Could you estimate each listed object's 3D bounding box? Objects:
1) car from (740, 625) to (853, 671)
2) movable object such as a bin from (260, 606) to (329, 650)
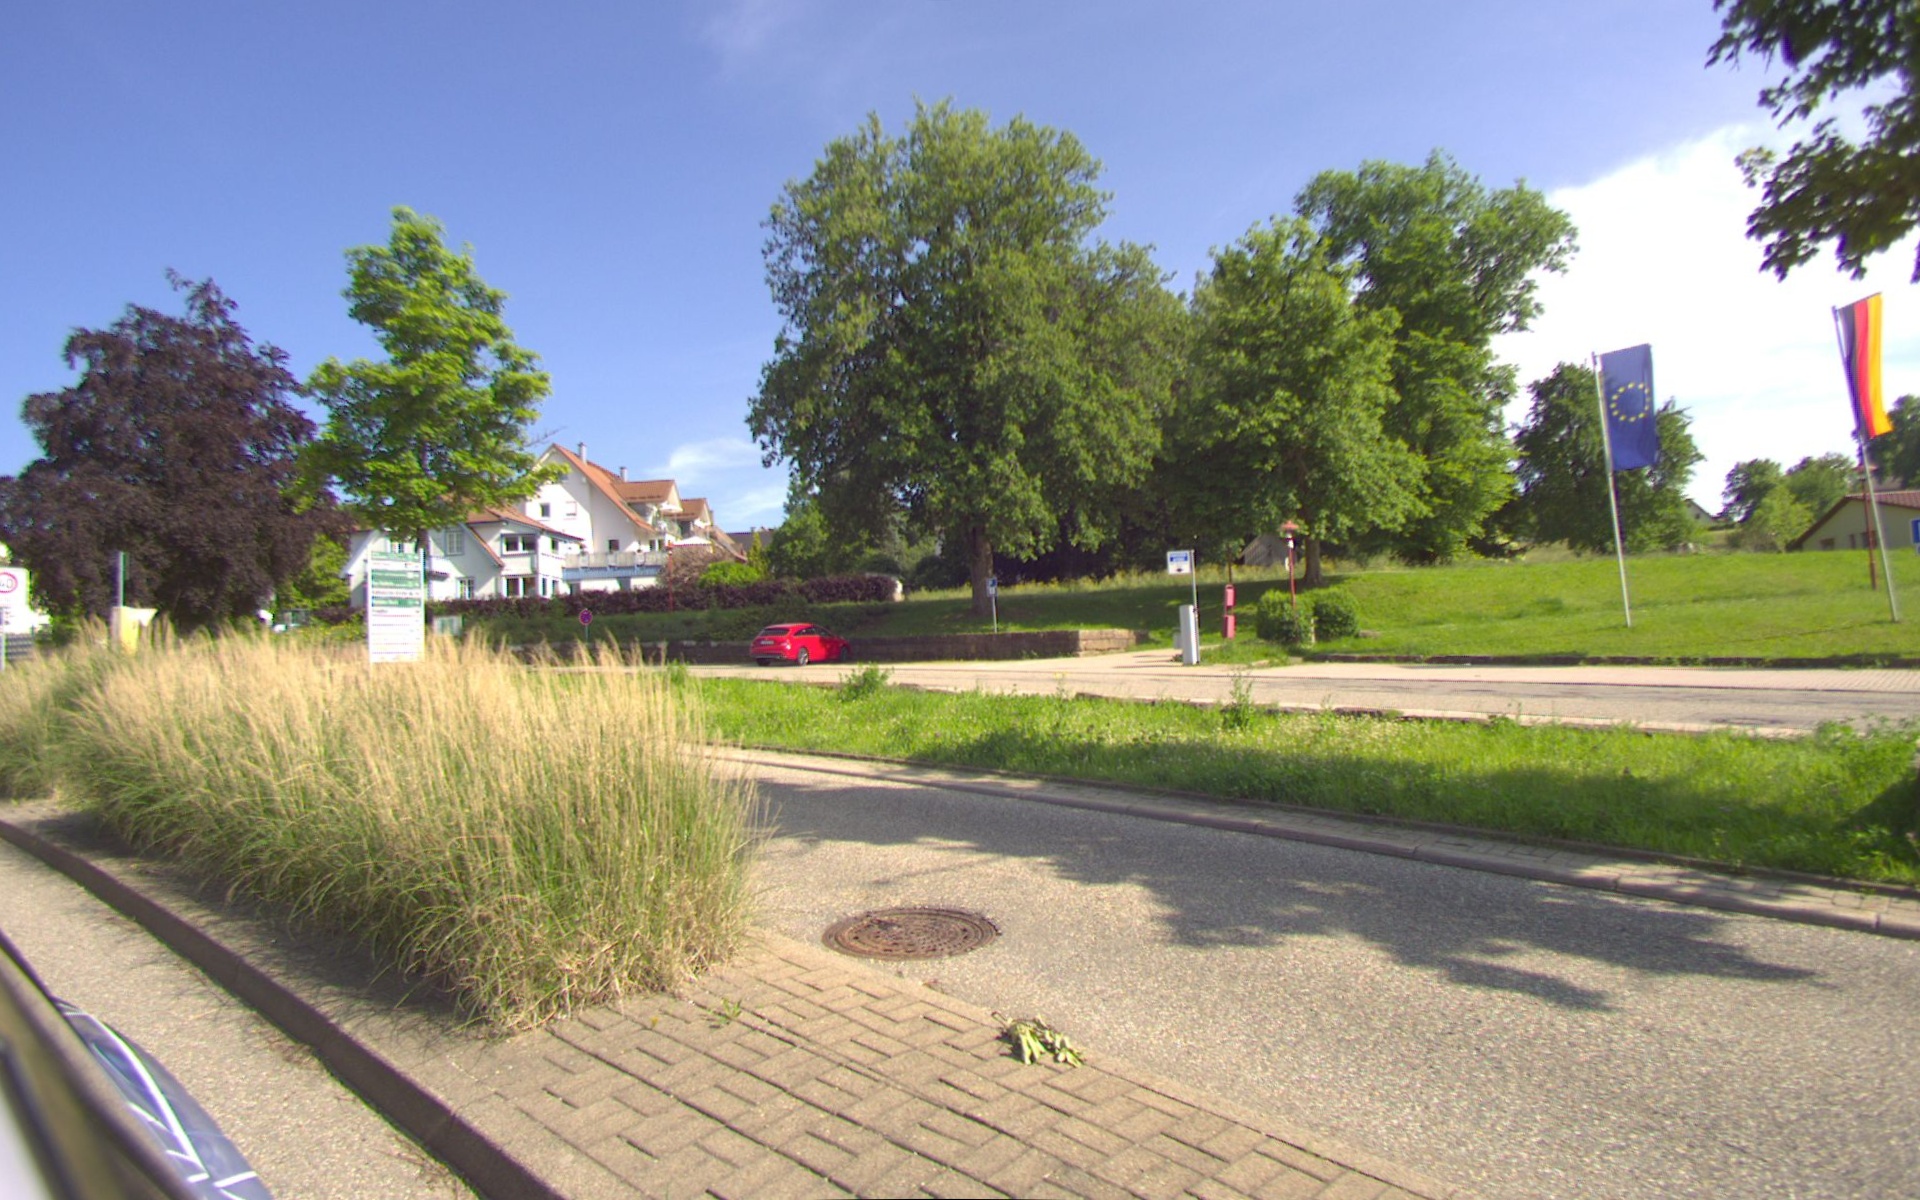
[{"bbox_3d":[-5.599,1.644,35.084,1.813,1.409,4.203,-3,-2,25],"label":"car"},{"bbox_3d":[-44.537,1.878,67.831,1.968,2.790,5.115,-2,-2,-10],"label":"movable object such as a bin"}]
